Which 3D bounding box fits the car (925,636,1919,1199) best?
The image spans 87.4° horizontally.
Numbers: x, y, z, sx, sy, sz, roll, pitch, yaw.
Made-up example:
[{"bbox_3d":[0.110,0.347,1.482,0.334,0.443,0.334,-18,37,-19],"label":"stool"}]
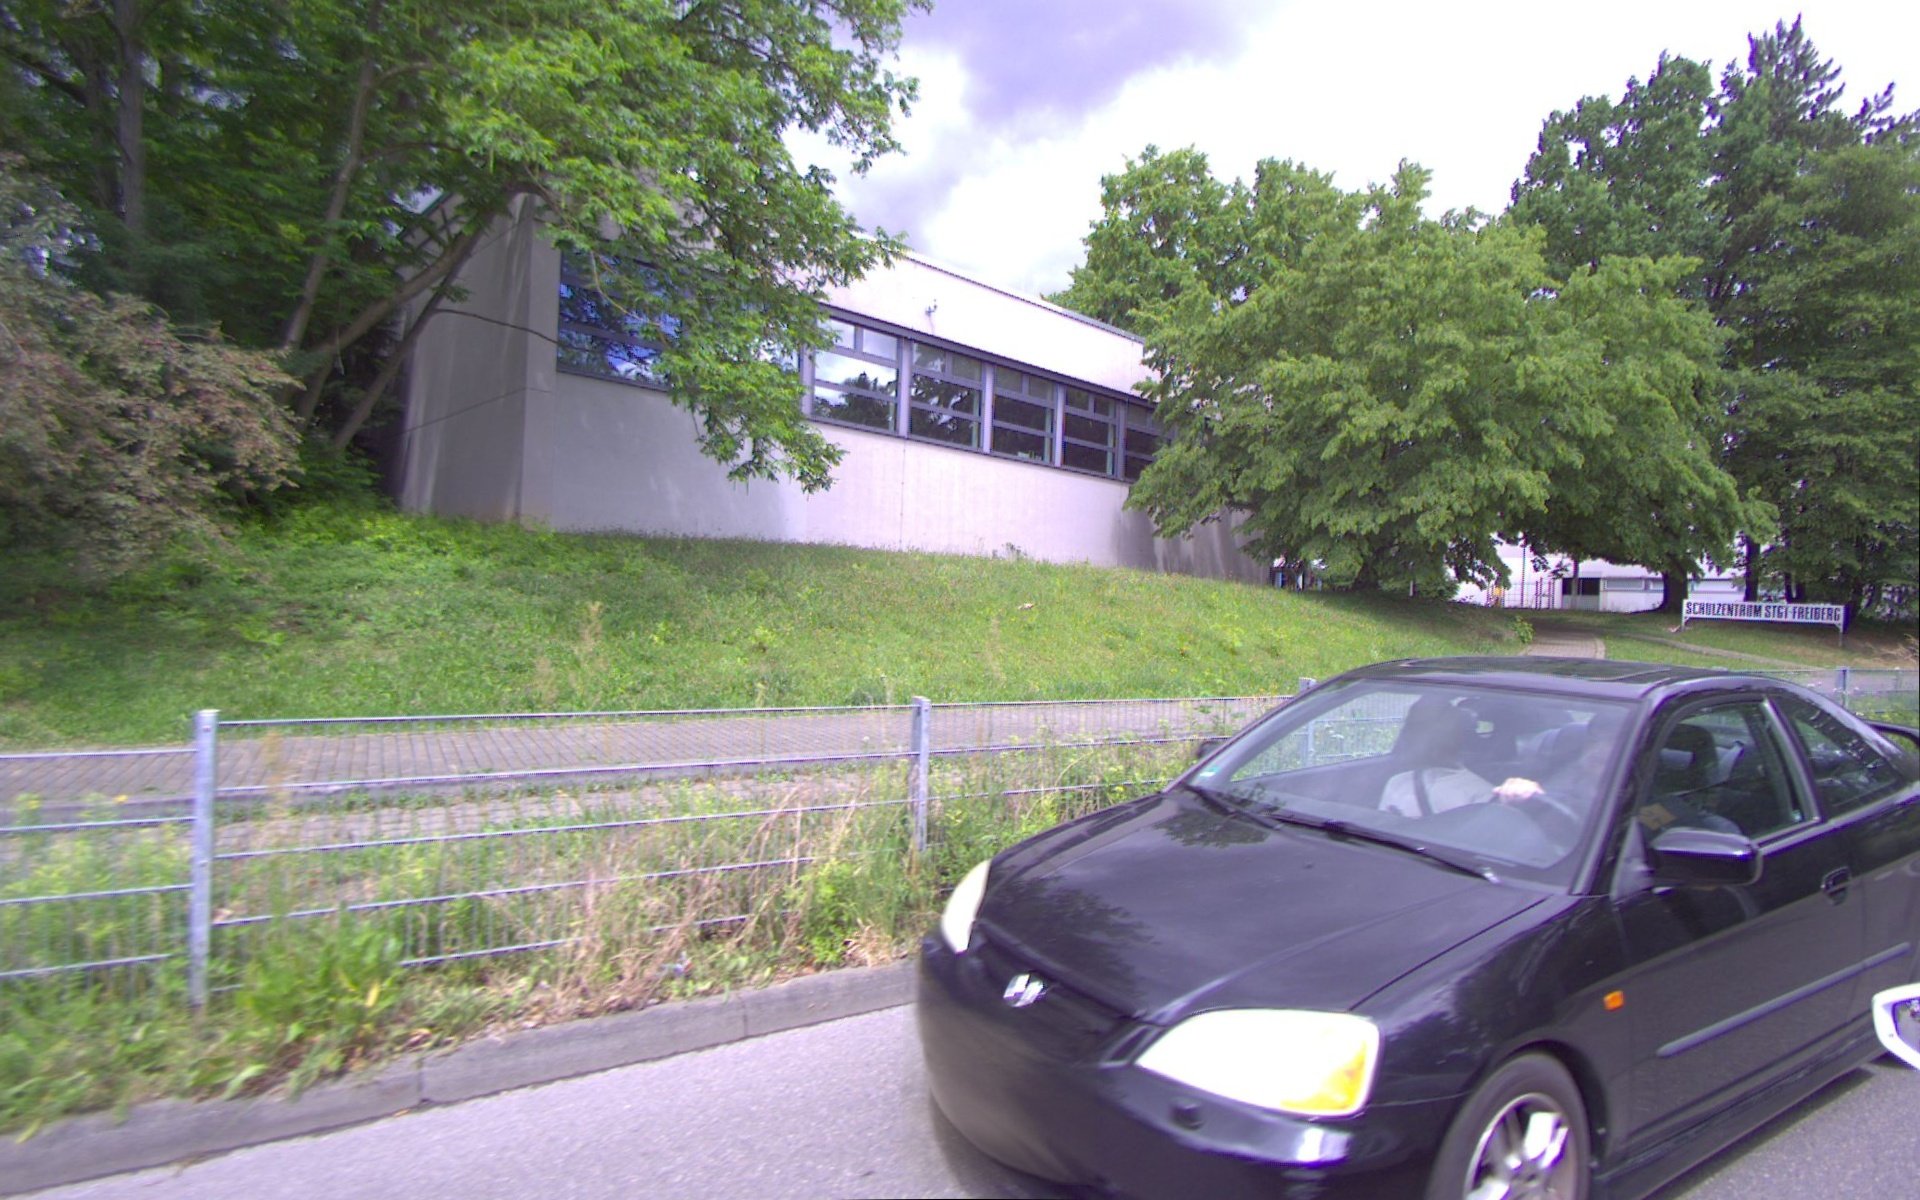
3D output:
[{"bbox_3d":[2.052,0.841,3.523,4.046,1.367,1.685,1,0,-30],"label":"car"}]
